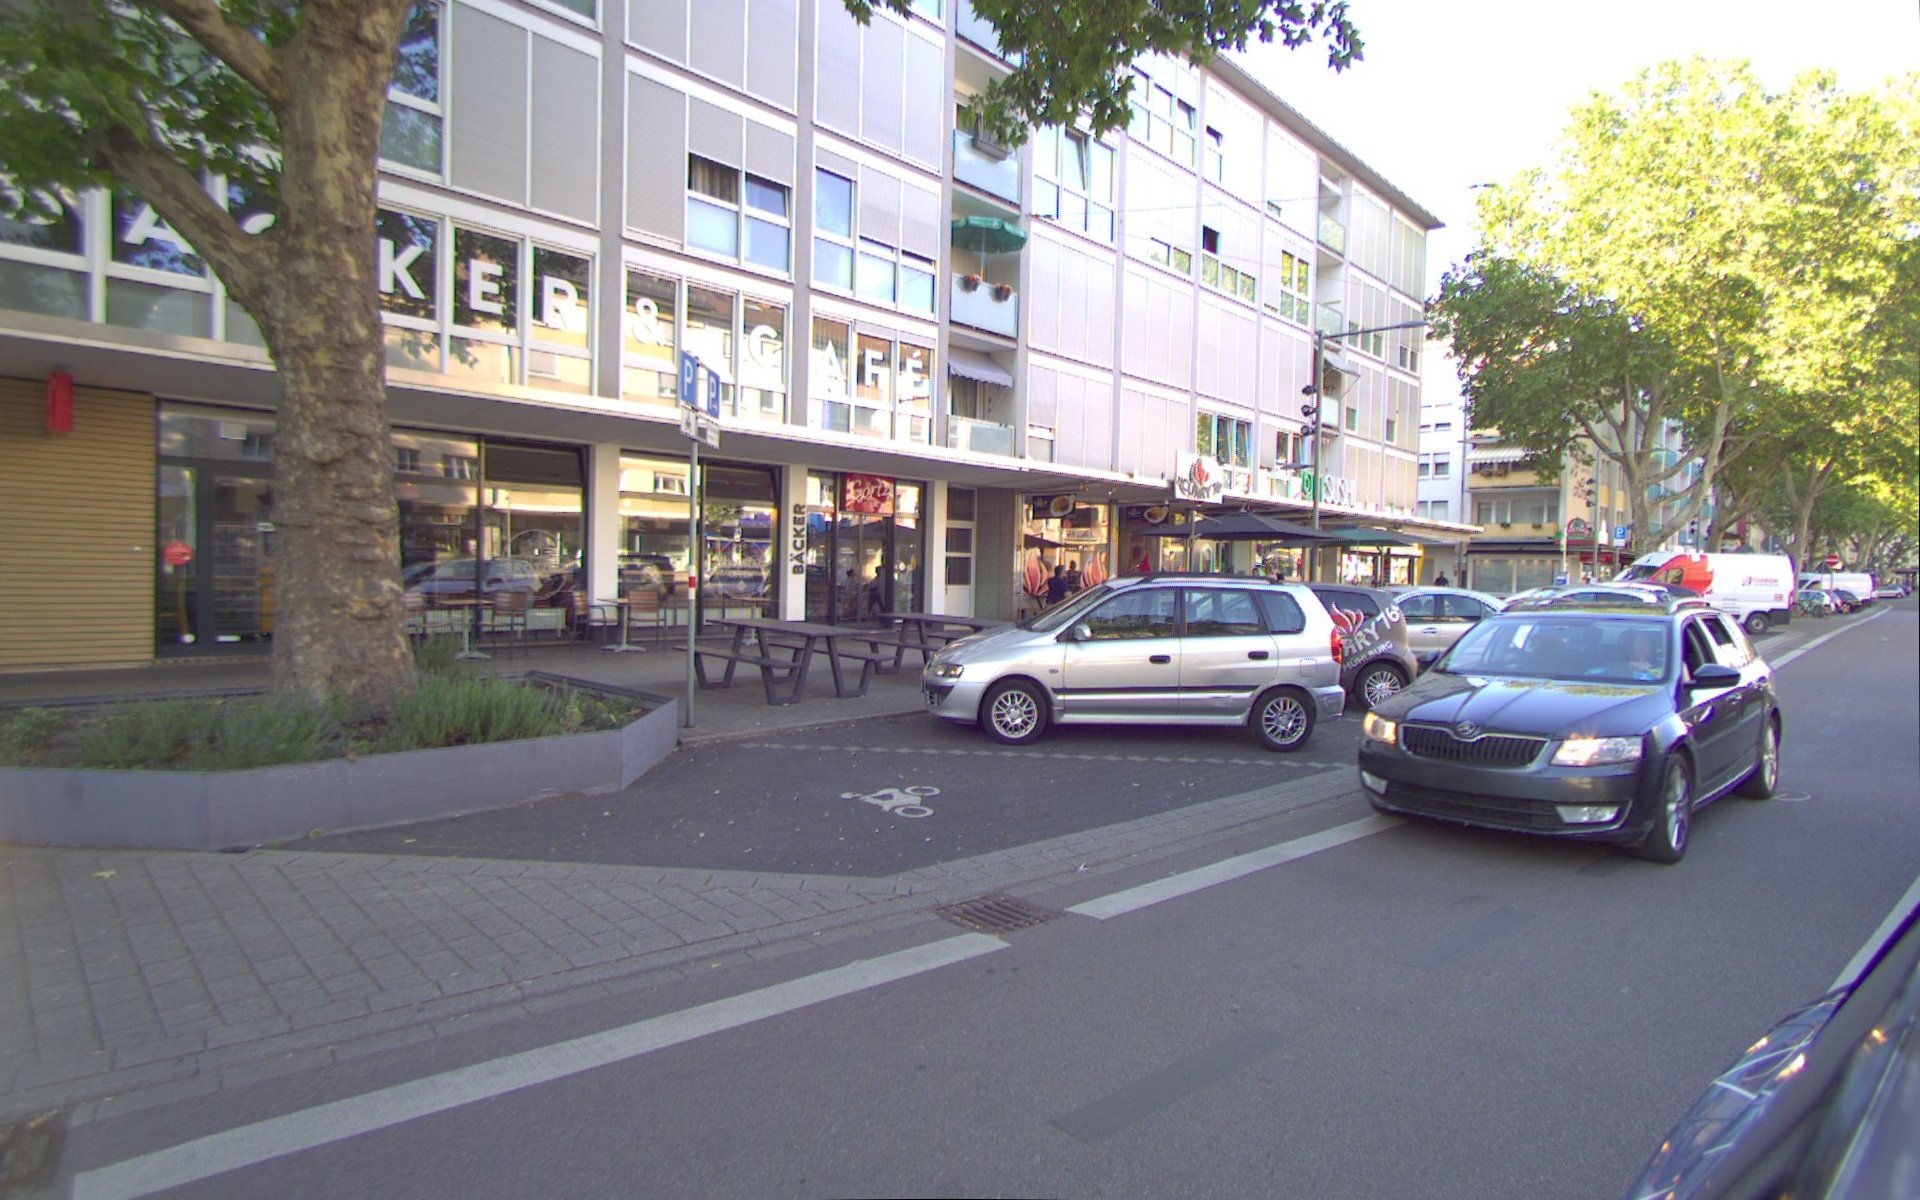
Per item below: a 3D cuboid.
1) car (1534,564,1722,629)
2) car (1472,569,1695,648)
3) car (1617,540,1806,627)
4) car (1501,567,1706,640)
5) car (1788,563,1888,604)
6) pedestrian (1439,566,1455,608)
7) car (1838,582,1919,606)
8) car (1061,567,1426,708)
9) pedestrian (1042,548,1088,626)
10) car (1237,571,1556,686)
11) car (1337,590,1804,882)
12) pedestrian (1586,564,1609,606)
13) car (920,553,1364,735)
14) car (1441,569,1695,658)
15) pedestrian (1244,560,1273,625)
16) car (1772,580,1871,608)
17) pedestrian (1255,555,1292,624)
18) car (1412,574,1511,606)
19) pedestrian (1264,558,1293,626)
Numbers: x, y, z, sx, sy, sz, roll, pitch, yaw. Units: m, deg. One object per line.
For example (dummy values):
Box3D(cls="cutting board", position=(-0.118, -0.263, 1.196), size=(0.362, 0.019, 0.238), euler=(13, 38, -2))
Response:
Box3D(cls="car", position=(18.112, -0.146, 27.640), size=(3.893, 1.445, 1.667), euler=(4, 5, 20))
Box3D(cls="car", position=(13.958, 0.141, 22.904), size=(3.886, 1.446, 1.670), euler=(3, 3, 16))
Box3D(cls="car", position=(23.693, -0.536, 32.048), size=(4.514, 2.525, 1.675), euler=(2, 0, 5))
Box3D(cls="car", position=(15.913, 0.043, 25.243), size=(3.888, 1.445, 1.669), euler=(4, 5, 17))
Box3D(cls="car", position=(56.474, -1.079, 65.163), size=(4.512, 2.499, 1.977), euler=(1, 2, 3))
Box3D(cls="pedestrian", position=(20.364, -0.562, 42.334), size=(0.473, 1.751, 0.347), euler=(1, 1, 11))
Box3D(cls="car", position=(56.266, -0.383, 61.625), size=(3.864, 1.350, 1.782), euler=(1, 2, 3))
Box3D(cls="car", position=(3.310, 0.404, 12.297), size=(3.864, 1.446, 1.679), euler=(2, 3, -3))
Box3D(cls="pedestrian", position=(2.219, -0.284, 21.407), size=(0.757, 1.602, 0.583), euler=(0, 2, -39))
Box3D(cls="car", position=(6.228, 0.370, 14.757), size=(3.867, 1.418, 1.598), euler=(2, 3, 1))
Box3D(cls="car", position=(4.500, 0.672, 7.172), size=(4.156, 1.470, 1.726), euler=(-1, 0, -42))
Box3D(cls="pedestrian", position=(31.281, -0.724, 49.654), size=(0.746, 2.038, 0.752), euler=(2, 2, 45))
Box3D(cls="car", position=(1.599, 0.369, 9.805), size=(3.906, 1.560, 1.678), euler=(1, 2, -3))
Box3D(cls="car", position=(11.787, 0.229, 19.812), size=(3.871, 1.446, 1.559), euler=(3, 3, 4))
Box3D(cls="pedestrian", position=(7.830, -0.205, 26.542), size=(0.536, 1.660, 0.470), euler=(2, 2, 45))
Box3D(cls="car", position=(48.164, -0.352, 56.642), size=(3.864, 1.422, 1.782), euler=(1, 2, 3))
Box3D(cls="pedestrian", position=(7.395, -0.253, 23.865), size=(0.559, 1.596, 0.632), euler=(2, 2, 44))
Box3D(cls="car", position=(24.670, -0.507, 49.832), size=(3.984, 1.437, 1.970), euler=(3, 2, 41))
Box3D(cls="pedestrian", position=(8.224, -0.219, 26.153), size=(0.544, 1.741, 0.450), euler=(2, 2, 45))
